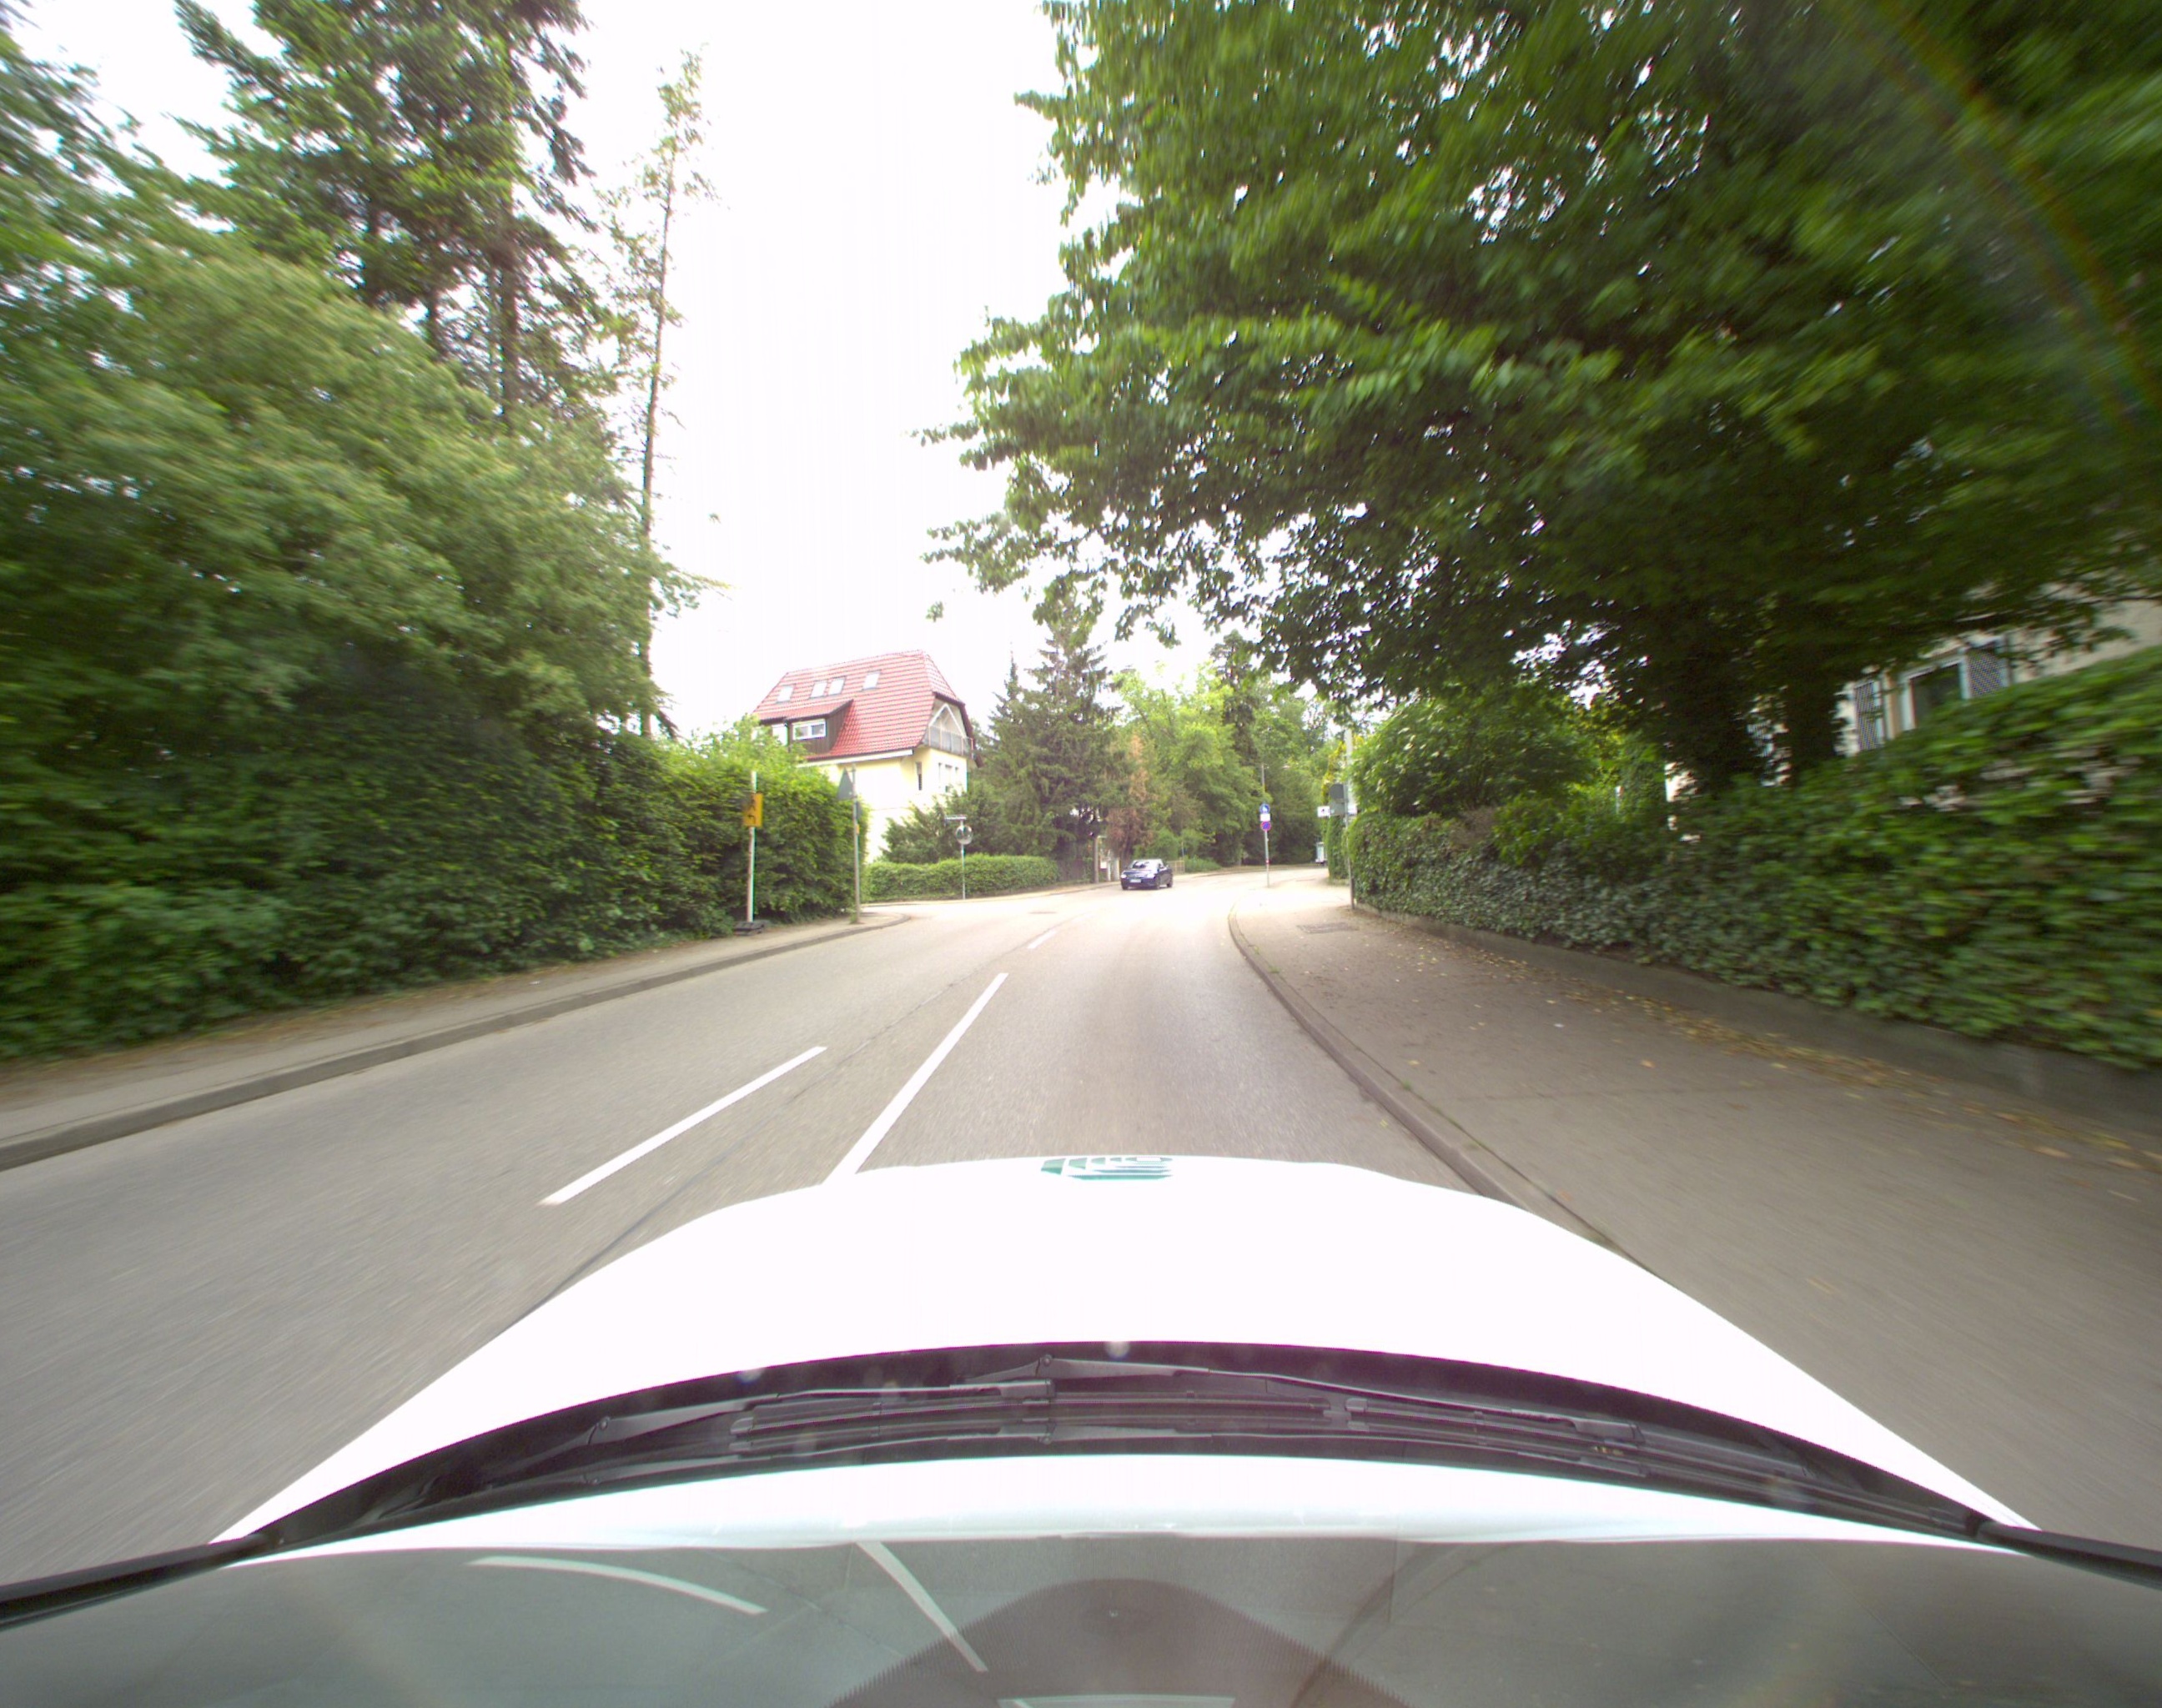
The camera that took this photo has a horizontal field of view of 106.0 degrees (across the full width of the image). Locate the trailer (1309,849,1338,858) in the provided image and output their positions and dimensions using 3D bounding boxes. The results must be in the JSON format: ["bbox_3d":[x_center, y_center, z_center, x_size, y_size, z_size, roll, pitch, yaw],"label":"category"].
[{"bbox_3d":[27.993,-0.052,94.081,2.928,0.829,1.484,-3,-2,25],"label":"trailer"}]

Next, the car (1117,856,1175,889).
[{"bbox_3d":[3.148,0.839,38.716,1.742,1.439,4.113,-2,0,18],"label":"car"}]
